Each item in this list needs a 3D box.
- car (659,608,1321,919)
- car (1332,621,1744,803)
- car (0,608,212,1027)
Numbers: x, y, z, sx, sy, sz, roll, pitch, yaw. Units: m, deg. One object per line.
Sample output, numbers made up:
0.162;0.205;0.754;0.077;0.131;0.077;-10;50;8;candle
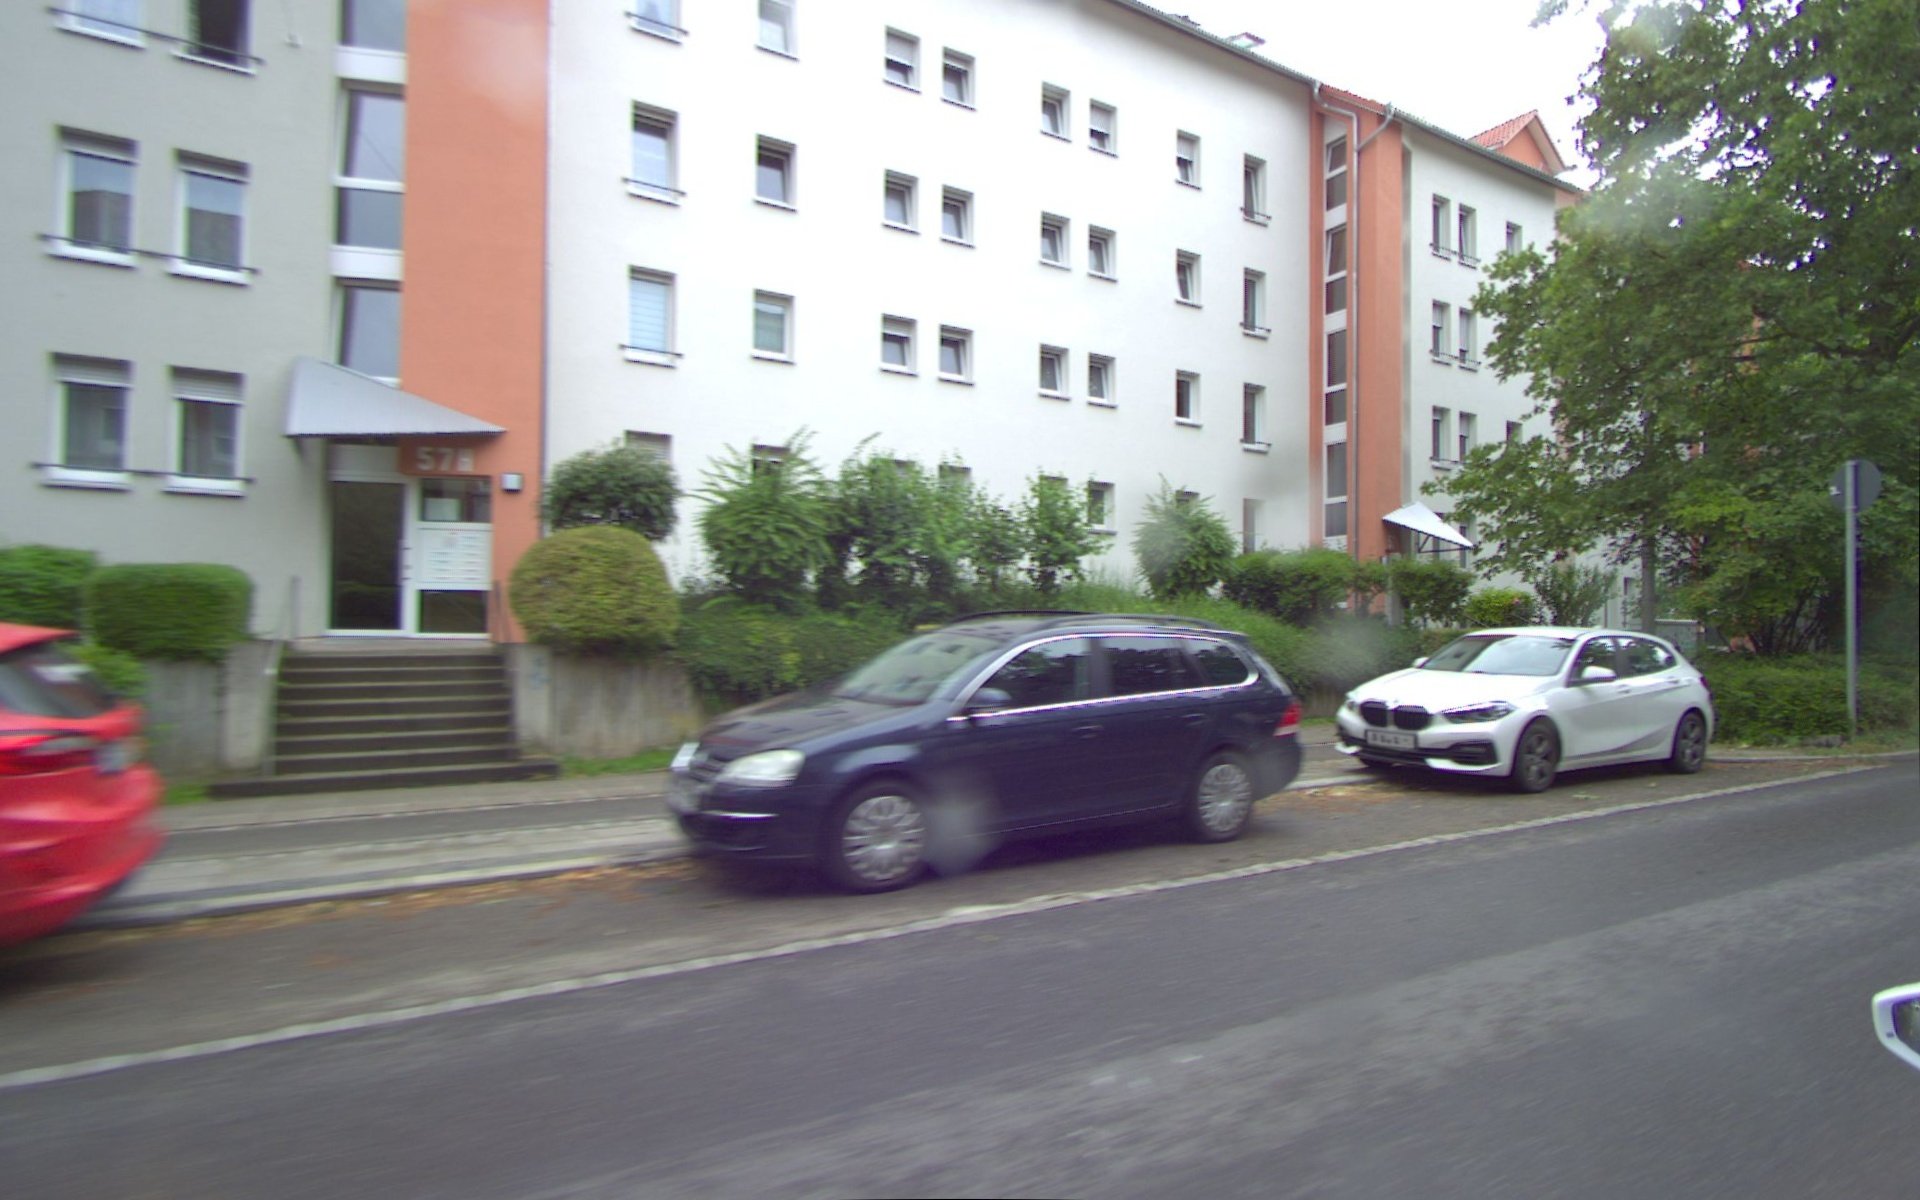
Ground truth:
0.338;0.832;6.693;4.188;1.487;1.707;1;-1;-33;car
5.912;0.988;10.168;4.258;1.487;1.709;1;-1;-30;car
-5.082;0.758;3.564;3.714;1.487;1.708;1;-1;-32;car
